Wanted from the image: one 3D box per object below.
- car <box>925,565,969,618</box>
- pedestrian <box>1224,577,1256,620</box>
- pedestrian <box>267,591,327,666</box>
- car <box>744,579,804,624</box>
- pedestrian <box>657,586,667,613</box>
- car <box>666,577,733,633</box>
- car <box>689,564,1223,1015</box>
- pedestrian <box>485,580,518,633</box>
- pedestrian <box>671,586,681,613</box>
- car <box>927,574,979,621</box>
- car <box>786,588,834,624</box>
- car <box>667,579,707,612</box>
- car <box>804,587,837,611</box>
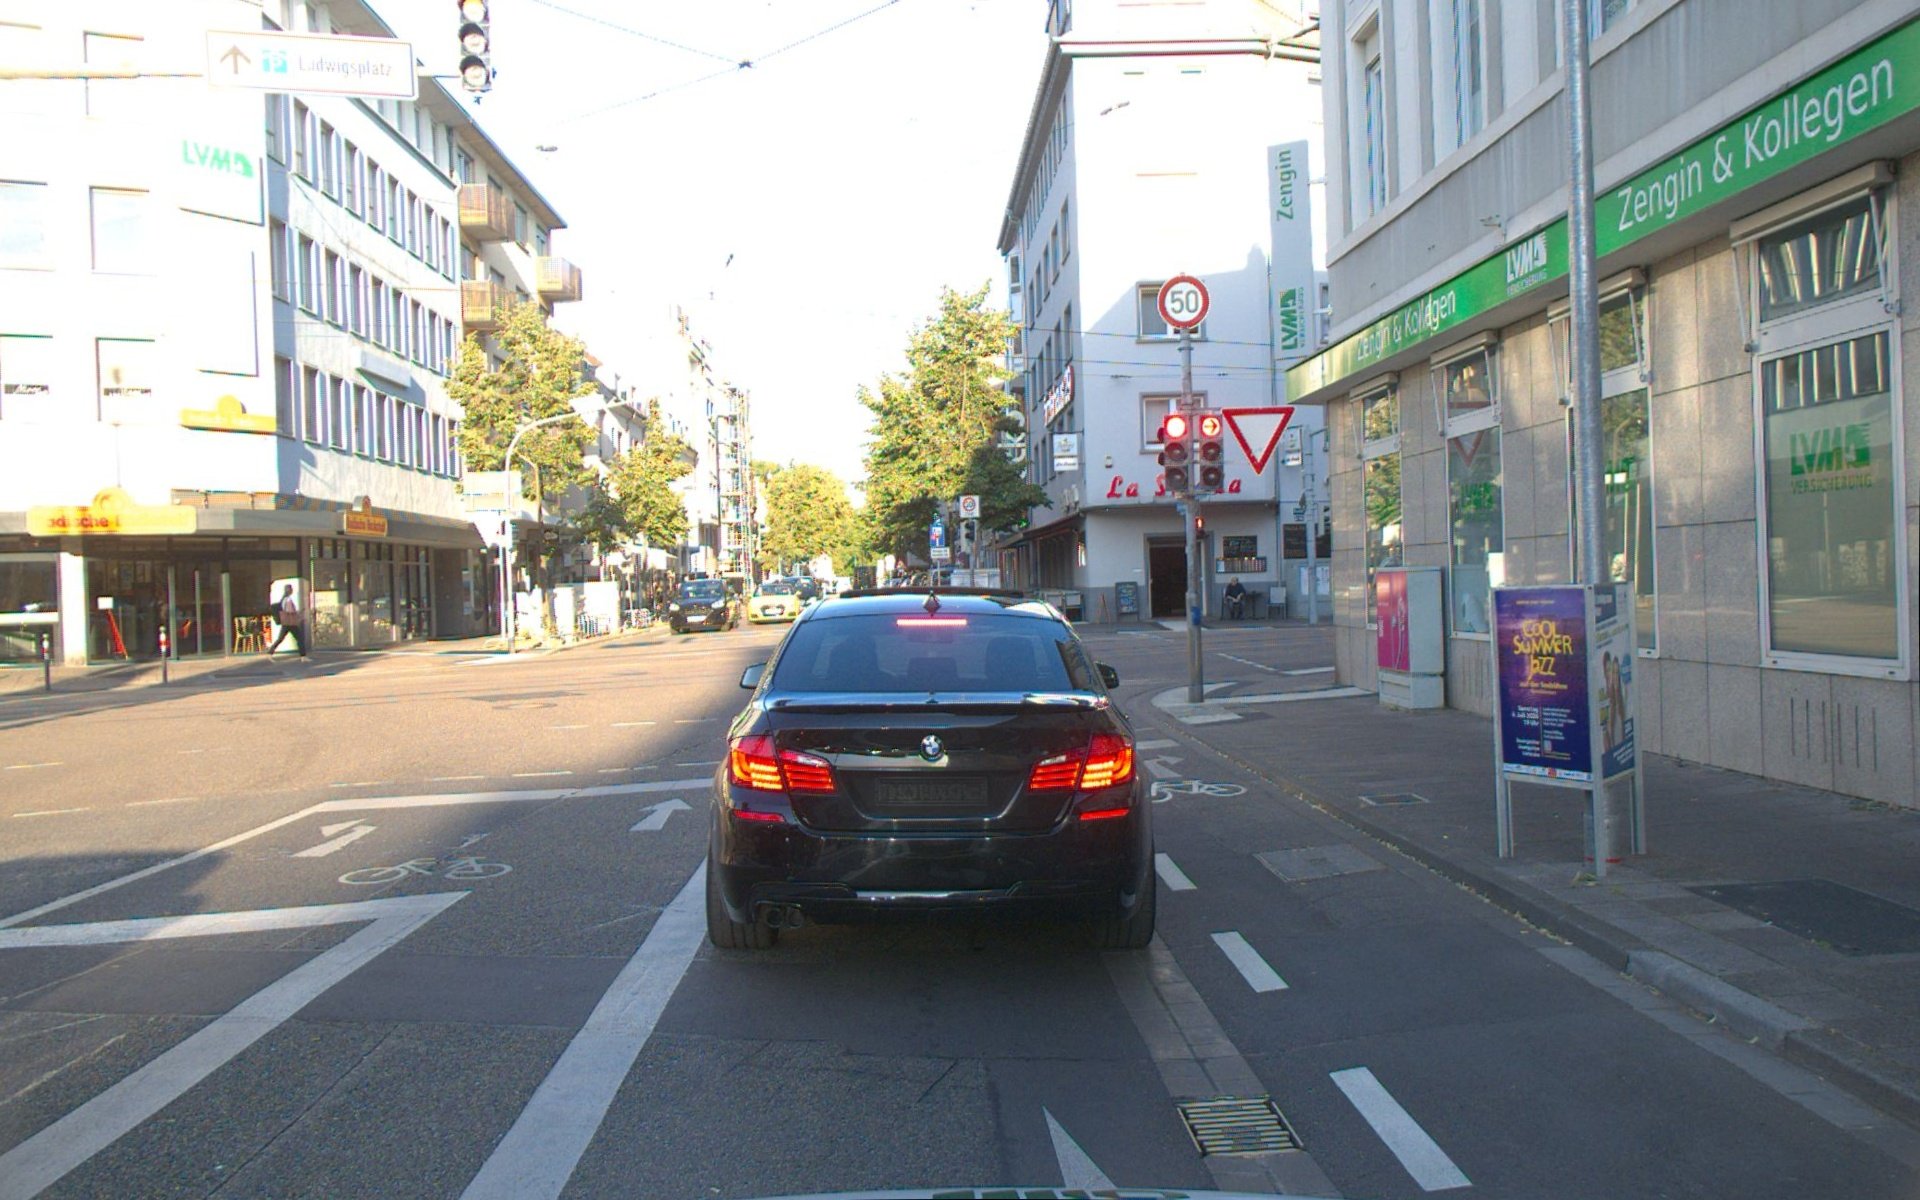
[{"bbox_3d":[-0.514,-0.317,61.413,1.393,1.887,3.049,-1,0,-5],"label":"car"},{"bbox_3d":[7.914,-0.049,46.849,0.683,1.177,0.843,-2,0,-4],"label":"pedestrian"},{"bbox_3d":[-14.215,0.601,35.446,0.939,1.564,0.896,-2,0,-39],"label":"pedestrian"},{"bbox_3d":[-6.552,0.025,57.997,1.956,1.467,3.993,-2,1,-8],"label":"car"},{"bbox_3d":[-16.201,-0.030,89.791,0.435,1.441,0.525,-2,0,-4],"label":"pedestrian"},{"bbox_3d":[-8.228,0.147,52.529,1.956,1.646,3.993,-2,1,-8],"label":"car"},{"bbox_3d":[-0.122,0.634,8.021,1.865,1.567,4.447,0,1,-3],"label":"car"},{"bbox_3d":[-15.199,0.221,54.856,0.807,1.705,0.871,-2,0,-3],"label":"pedestrian"},{"bbox_3d":[-15.594,-0.042,90.798,0.435,1.441,0.525,-2,0,-4],"label":"pedestrian"},{"bbox_3d":[-0.251,-0.086,55.017,1.593,1.497,3.393,-1,0,-3],"label":"car"},{"bbox_3d":[-5.904,0.224,64.778,1.701,1.315,3.993,-2,1,-8],"label":"car"},{"bbox_3d":[-13.039,-0.210,79.247,1.701,1.487,3.993,-2,1,-8],"label":"car"},{"bbox_3d":[-8.138,-0.057,96.357,1.701,1.315,3.993,-2,1,-8],"label":"car"}]
